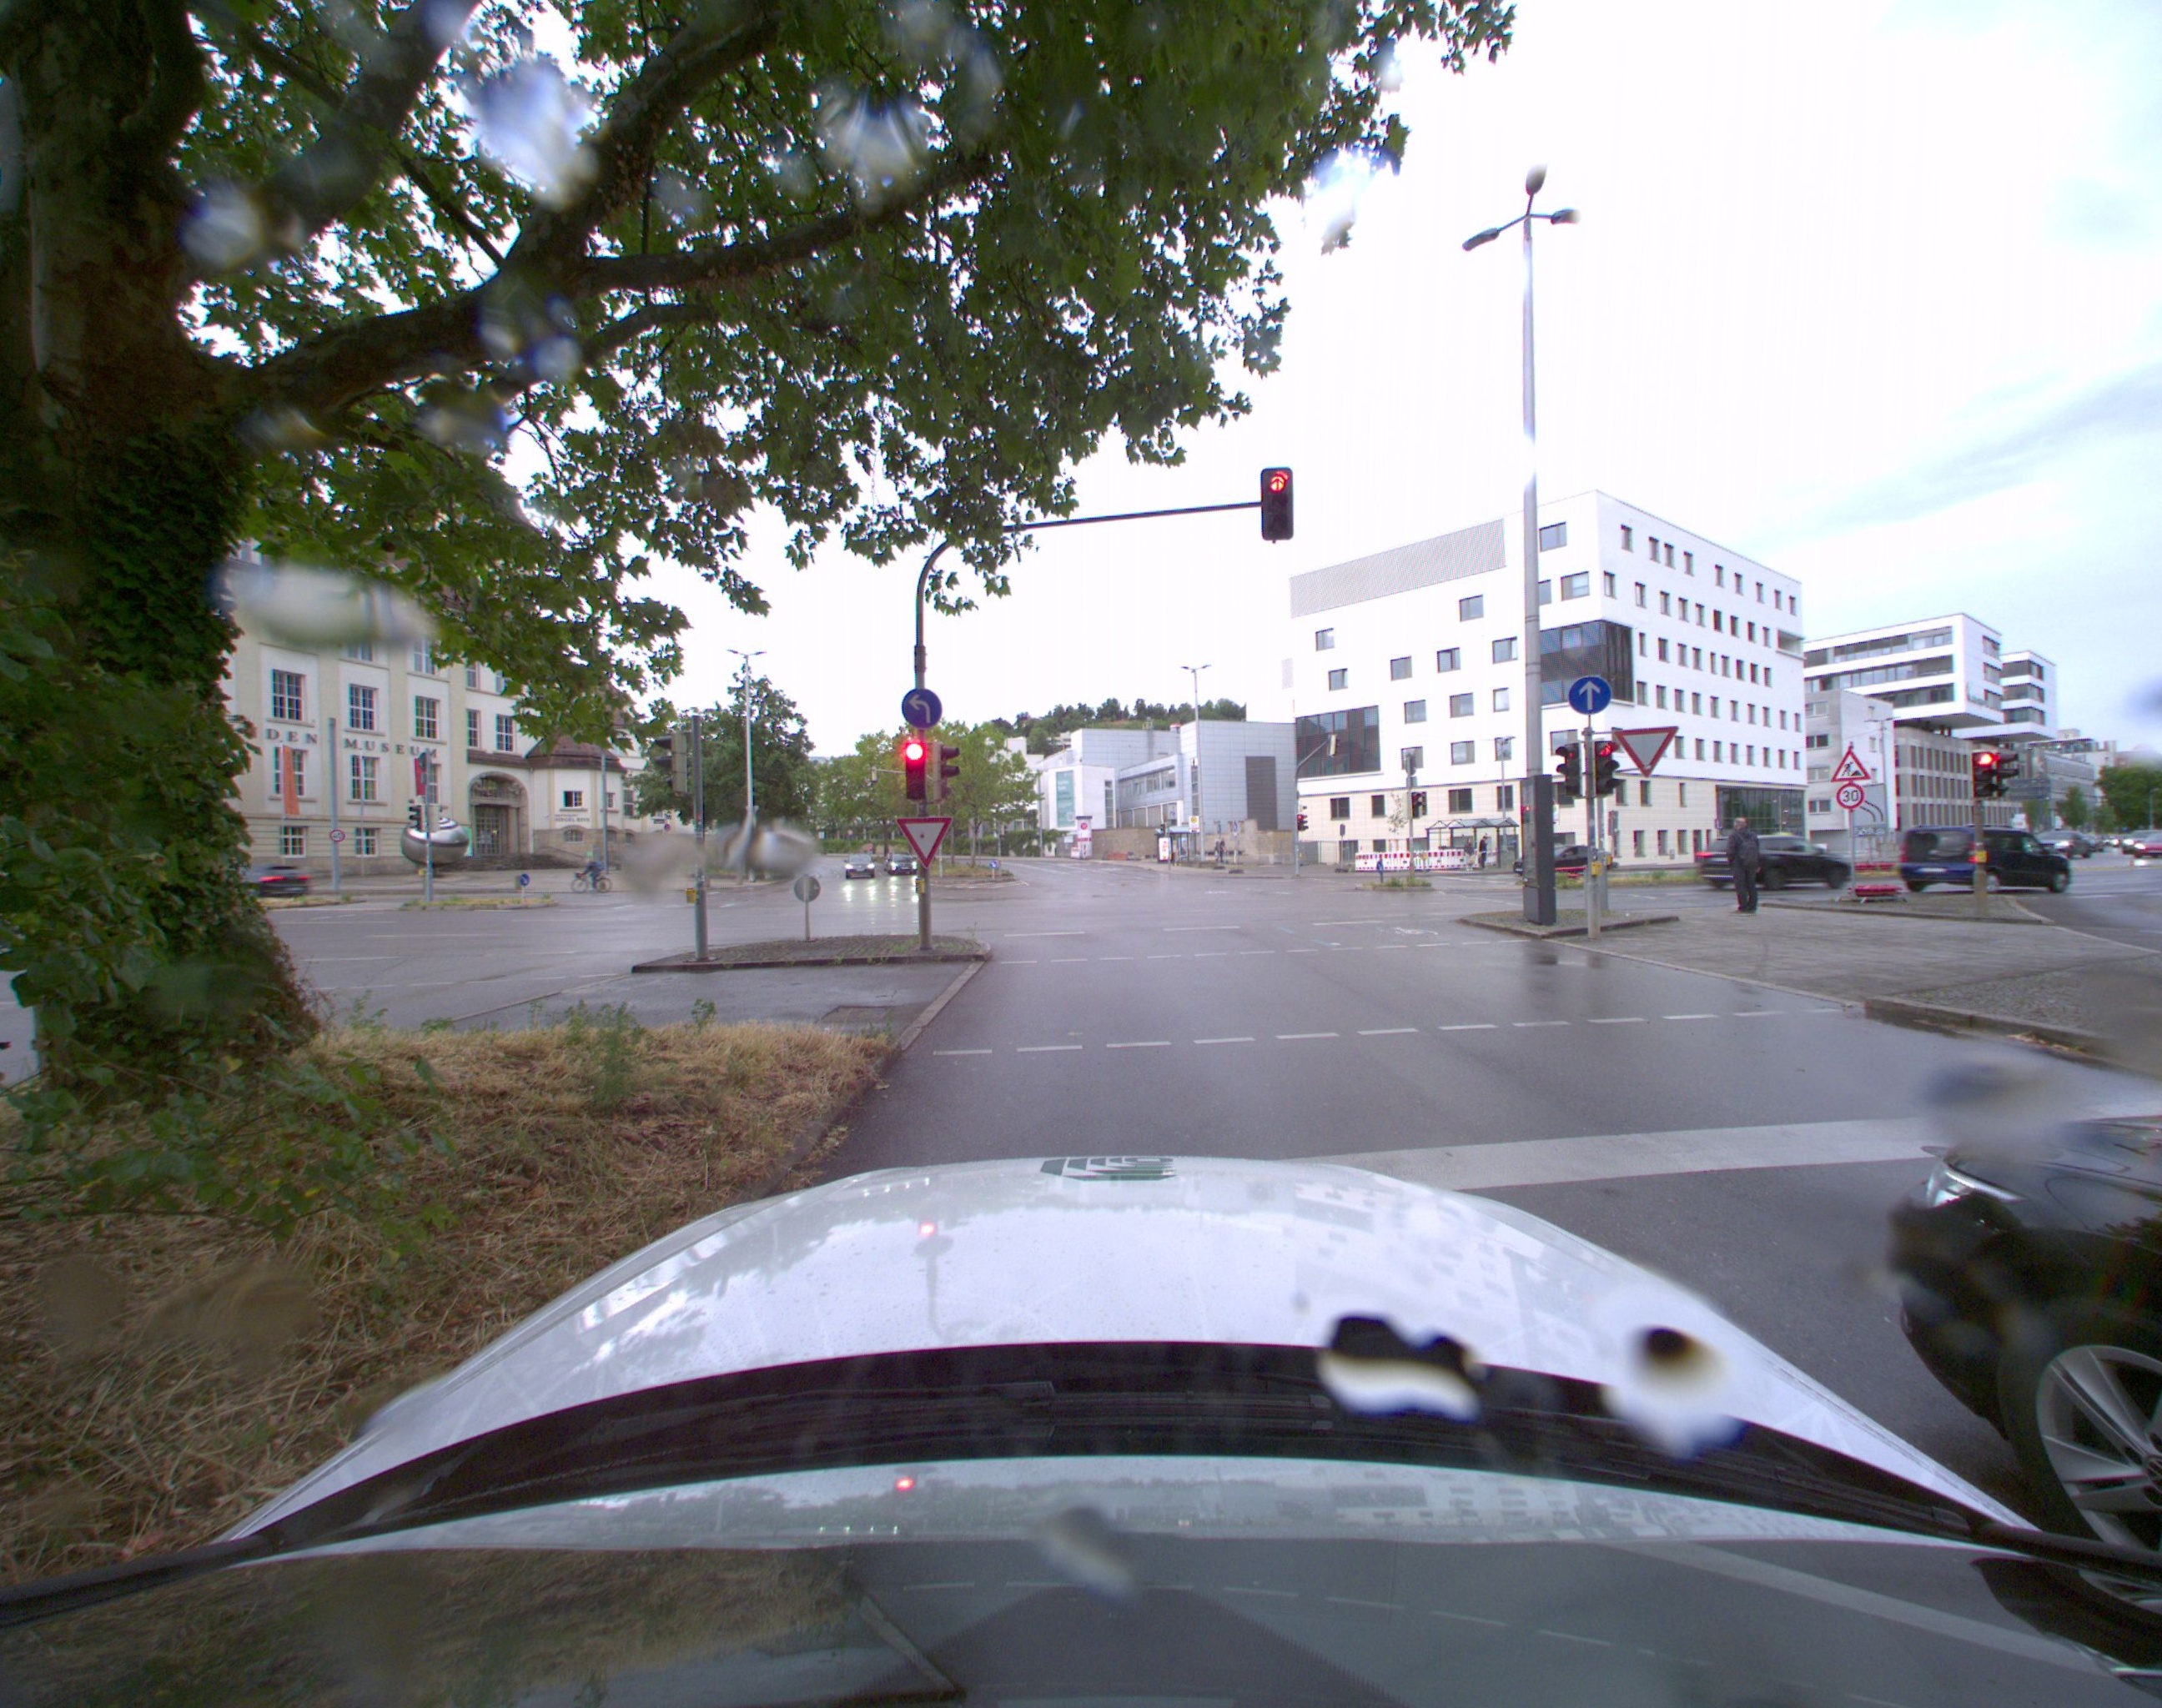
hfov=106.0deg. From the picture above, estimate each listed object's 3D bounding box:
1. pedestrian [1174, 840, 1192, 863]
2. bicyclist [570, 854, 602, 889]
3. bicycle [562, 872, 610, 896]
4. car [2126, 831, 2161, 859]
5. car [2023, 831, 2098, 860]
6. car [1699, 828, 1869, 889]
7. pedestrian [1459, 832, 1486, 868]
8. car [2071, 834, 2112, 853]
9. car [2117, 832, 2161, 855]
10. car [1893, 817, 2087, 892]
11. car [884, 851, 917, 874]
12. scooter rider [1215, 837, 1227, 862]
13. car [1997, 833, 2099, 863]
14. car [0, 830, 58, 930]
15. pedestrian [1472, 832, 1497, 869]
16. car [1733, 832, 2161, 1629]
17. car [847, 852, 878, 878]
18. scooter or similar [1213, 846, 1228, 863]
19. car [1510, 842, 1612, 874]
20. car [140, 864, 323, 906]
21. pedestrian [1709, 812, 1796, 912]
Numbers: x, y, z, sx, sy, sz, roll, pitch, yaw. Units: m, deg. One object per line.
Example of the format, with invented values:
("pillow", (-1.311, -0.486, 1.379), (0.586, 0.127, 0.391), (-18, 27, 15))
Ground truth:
("pedestrian", (7.706, -0.188, 61.562), (1.253, 1.719, 1.016), (0, -1, 0))
("bicyclist", (-23.181, 0.803, 38.137), (1.128, 1.633, 0.698), (0, -1, -18))
("bicycle", (-23.157, 1.394, 38.148), (1.820, 1.056, 0.644), (-1, -1, -18))
("car", (63.990, -0.505, 47.615), (4.520, 1.557, 1.957), (0, 0, -14))
("car", (60.037, -0.547, 49.911), (4.396, 1.664, 1.983), (-1, 0, -27))
("car", (21.573, 0.103, 24.997), (4.686, 1.705, 1.787), (-1, 1, -18))
("pedestrian", (20.150, -0.214, 41.968), (0.951, 1.840, 0.821), (0, -1, -10))
("car", (79.372, -0.831, 63.980), (4.409, 1.378, 1.977), (-1, 0, -39))
("car", (73.644, -0.697, 56.116), (4.167, 1.537, 1.950), (0, 0, -26))
("car", (25.421, -0.018, 22.813), (4.300, 1.908, 1.790), (-1, 1, -13))
("car", (-12.899, 0.571, 58.190), (1.795, 1.584, 3.973), (-2, 1, -20))
("scooter rider", (10.975, -0.347, 63.770), (0.725, 1.883, 0.628), (1, -1, -18))
("car", (49.520, -0.289, 41.733), (3.991, 1.444, 1.790), (0, 0, -13))
("car", (-30.024, 0.687, 20.893), (5.980, 2.494, 2.072), (-1, 1, 10))
("pedestrian", (21.767, -0.173, 43.924), (0.995, 1.935, 0.957), (0, -1, 11))
("car", (2.805, 0.712, 0.248), (1.664, 1.466, 4.513), (-1, 1, 1))
("car", (-14.587, 0.685, 54.278), (1.871, 1.564, 4.254), (-2, 1, -15))
("scooter or similar", (10.957, 0.049, 63.817), (0.593, 1.239, 1.305), (1, -1, -19))
("car", (22.215, 0.199, 37.729), (3.991, 1.444, 1.790), (0, 0, -13))
("car", (-31.240, 1.108, 30.086), (4.367, 1.378, 1.996), (-1, 0, -6))
("pedestrian", (13.132, 0.166, 15.955), (0.826, 1.892, 1.025), (0, -1, -7))
